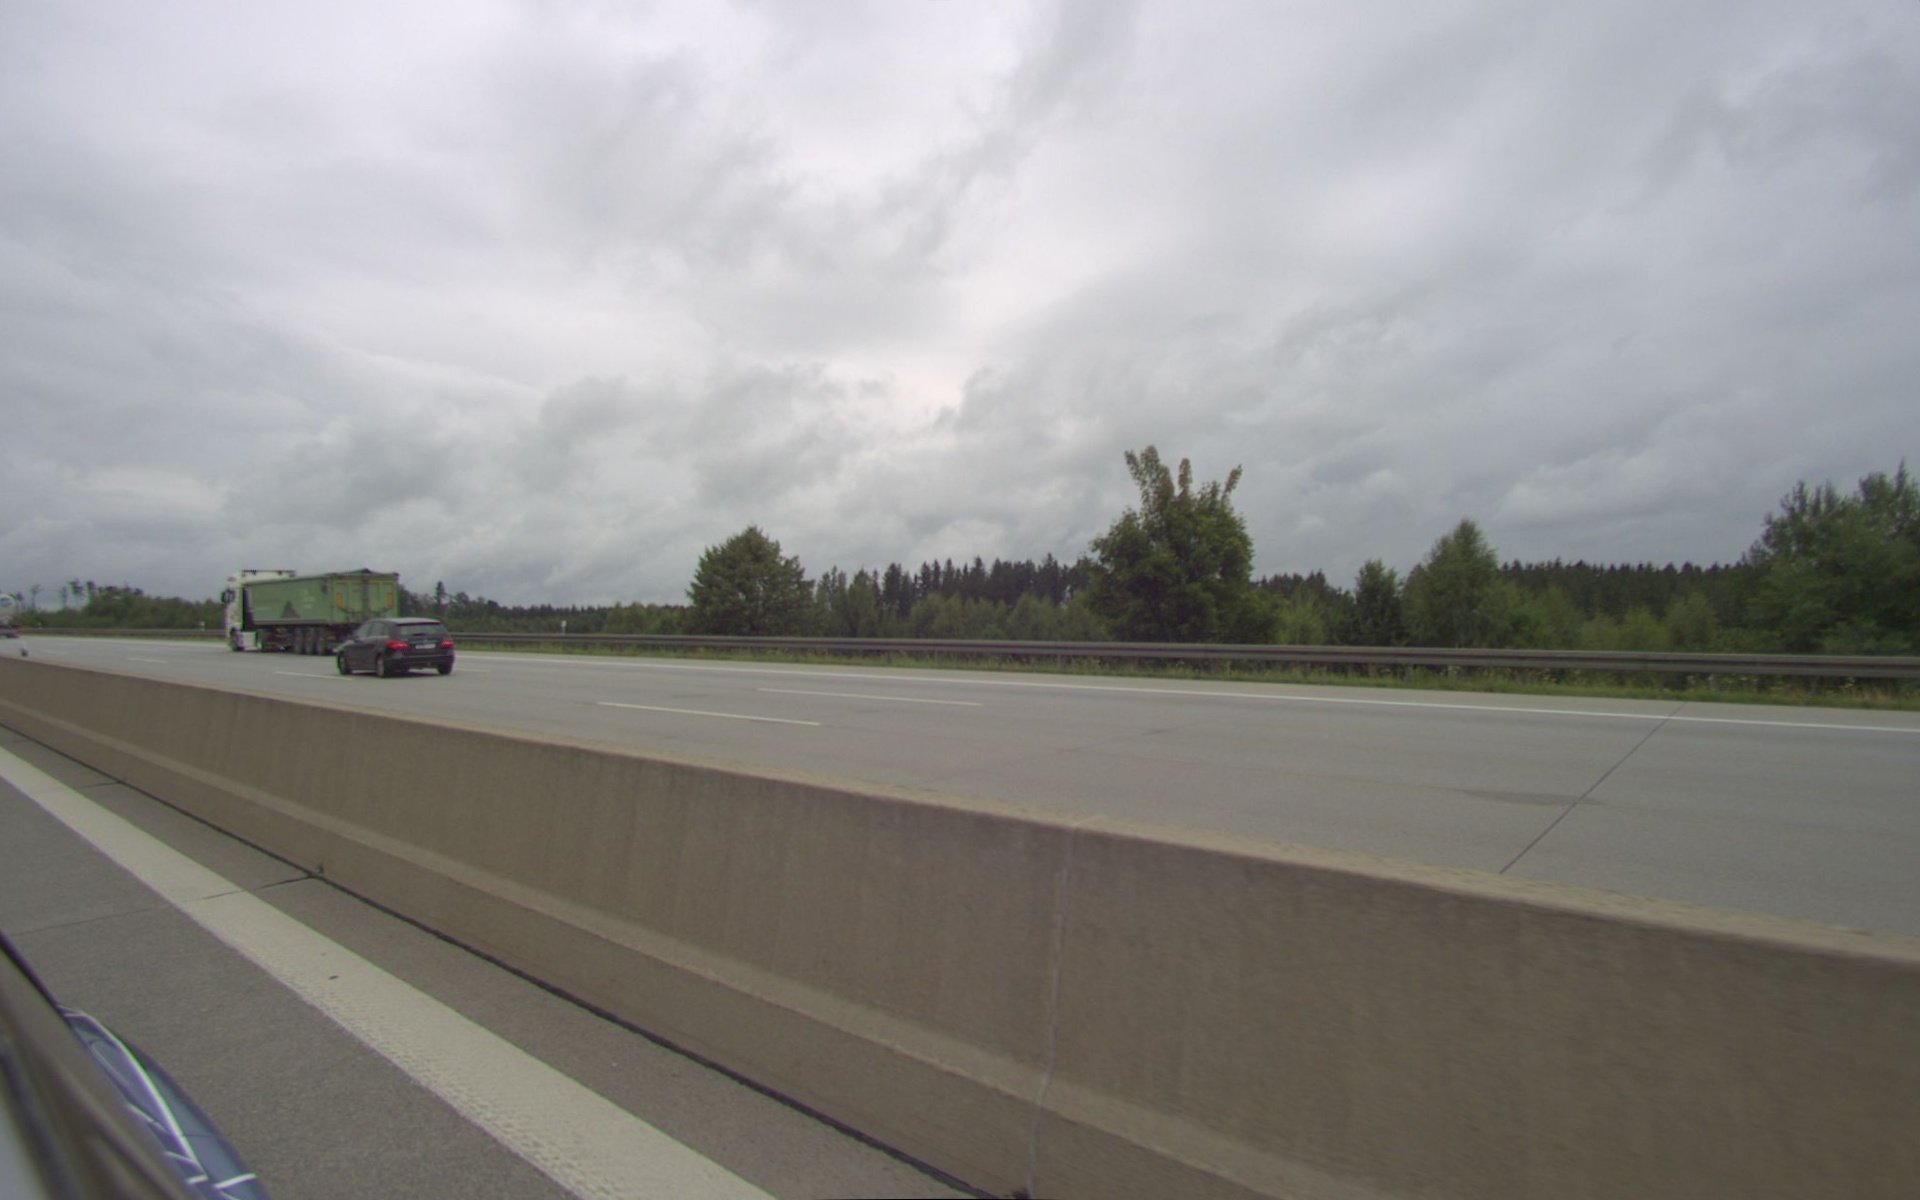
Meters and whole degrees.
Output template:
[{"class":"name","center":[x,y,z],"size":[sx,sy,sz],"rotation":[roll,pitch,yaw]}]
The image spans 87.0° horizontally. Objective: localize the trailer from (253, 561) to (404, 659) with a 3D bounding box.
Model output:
[{"class":"trailer","center":[-27.295,0.469,43.493],"size":[9.307,3.829,2.722],"rotation":[-1,-1,40]}]

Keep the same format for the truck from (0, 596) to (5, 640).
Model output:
[{"class":"truck","center":[-93.177,1.822,96.019],"size":[6.919,4.029,2.721],"rotation":[-3,-1,38]}]

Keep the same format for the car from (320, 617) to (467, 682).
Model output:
[{"class":"car","center":[-15.624,1.298,27.791],"size":[4.767,1.601,1.973],"rotation":[-1,-1,40]}]

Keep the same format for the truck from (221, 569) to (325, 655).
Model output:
[{"class":"truck","center":[-32.535,0.566,47.870],"size":[5.527,3.831,2.722],"rotation":[-1,0,40]}]

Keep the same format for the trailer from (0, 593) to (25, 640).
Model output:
[{"class":"trailer","center":[-88.251,1.594,92.115],"size":[12.273,4.029,2.732],"rotation":[-3,-2,38]}]
